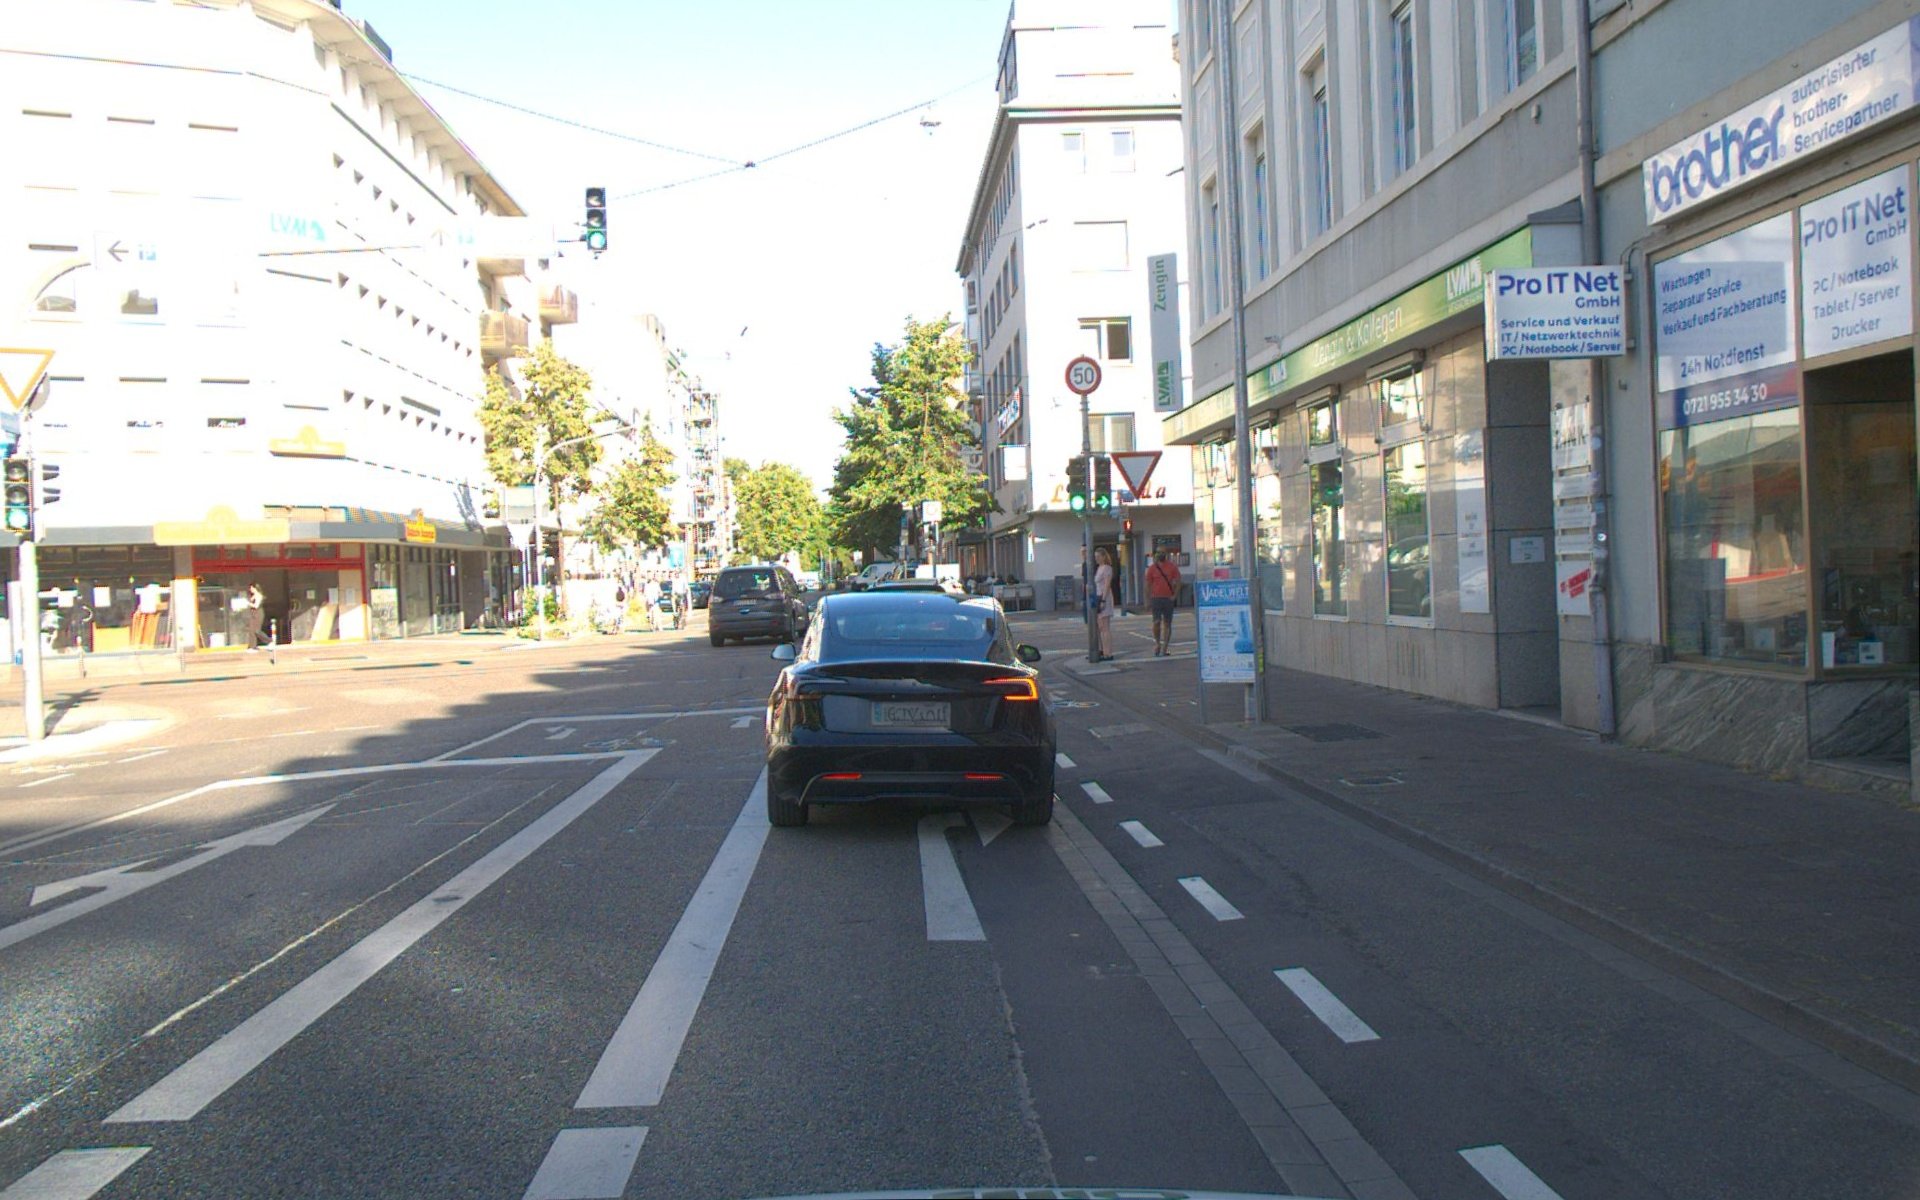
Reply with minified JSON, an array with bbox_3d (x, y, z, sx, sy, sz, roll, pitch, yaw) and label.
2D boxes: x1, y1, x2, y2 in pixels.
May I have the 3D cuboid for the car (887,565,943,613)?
[{"bbox_3d":[-1.744,-0.430,62.789,1.961,1.664,4.286,-3,1,-3],"label":"car"}]

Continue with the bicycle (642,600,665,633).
[{"bbox_3d":[-9.649,0.507,52.083,0.543,0.985,1.788,-3,1,-15],"label":"bicycle"}]

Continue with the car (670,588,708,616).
[{"bbox_3d":[-15.234,0.096,92.993,1.751,1.427,3.902,-3,1,-5],"label":"car"}]

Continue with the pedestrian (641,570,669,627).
[{"bbox_3d":[-9.665,-0.040,52.364,0.766,1.758,0.556,-2,1,-18],"label":"pedestrian"}]

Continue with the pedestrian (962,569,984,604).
[{"bbox_3d":[0.521,-0.554,67.864,0.696,1.370,1.058,-3,1,-7],"label":"pedestrian"}]

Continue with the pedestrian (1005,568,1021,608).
[{"bbox_3d":[1.855,-0.425,58.108,0.477,1.345,0.654,-3,1,4],"label":"pedestrian"}]

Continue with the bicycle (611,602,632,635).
[{"bbox_3d":[-10.520,0.565,51.377,0.472,0.972,1.448,-3,1,-17],"label":"bicycle"}]

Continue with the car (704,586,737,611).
[{"bbox_3d":[-14.892,-0.089,102.869,1.751,1.427,3.902,-3,1,-5],"label":"car"}]

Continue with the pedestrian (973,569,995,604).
[{"bbox_3d":[0.977,-0.555,66.782,0.716,1.370,1.058,-3,1,-6],"label":"pedestrian"}]

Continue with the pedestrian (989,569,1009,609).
[{"bbox_3d":[1.358,-0.384,57.297,0.575,1.335,0.560,-3,1,-3],"label":"pedestrian"}]

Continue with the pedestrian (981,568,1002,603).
[{"bbox_3d":[1.277,-0.601,68.071,0.716,1.384,0.958,-3,1,-4],"label":"pedestrian"}]

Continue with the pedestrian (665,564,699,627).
[{"bbox_3d":[-8.781,-0.159,52.165,0.766,1.898,0.997,-6,2,-18],"label":"pedestrian"}]

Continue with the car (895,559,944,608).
[{"bbox_3d":[-1.715,-0.717,69.224,1.866,1.884,4.286,-3,1,-3],"label":"car"}]

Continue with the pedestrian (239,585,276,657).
[{"bbox_3d":[-17.439,0.513,41.068,0.548,1.739,0.711,-3,1,-6],"label":"pedestrian"}]

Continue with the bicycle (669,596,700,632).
[{"bbox_3d":[-8.716,0.437,52.255,0.746,1.025,1.718,-6,2,-15],"label":"bicycle"}]

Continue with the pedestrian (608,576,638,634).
[{"bbox_3d":[-10.434,0.148,51.174,0.778,1.742,0.651,-2,1,-18],"label":"pedestrian"}]

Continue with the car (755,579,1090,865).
[{"bbox_3d":[-0.294,0.660,11.537,1.832,1.452,4.363,-3,2,-2],"label":"car"}]

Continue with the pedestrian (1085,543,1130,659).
[{"bbox_3d":[2.318,0.005,26.030,0.561,1.789,0.649,-2,1,-4],"label":"pedestrian"}]

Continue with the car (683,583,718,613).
[{"bbox_3d":[-15.351,-0.113,97.982,1.684,1.638,3.595,-3,1,-4],"label":"car"}]

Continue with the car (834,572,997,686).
[{"bbox_3d":[-0.546,0.354,24.213,1.724,1.443,4.358,-2,1,7],"label":"car"}]

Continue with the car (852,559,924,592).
[{"bbox_3d":[-5.426,-1.839,124.361,5.286,2.182,1.998,-3,1,-5],"label":"car"}]

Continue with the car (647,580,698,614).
[{"bbox_3d":[-14.769,-0.196,85.189,1.953,1.626,3.999,-2,1,-2],"label":"car"}]

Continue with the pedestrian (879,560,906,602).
[{"bbox_3d":[-3.214,-0.934,79.182,0.937,1.948,1.106,-3,1,13],"label":"pedestrian"}]

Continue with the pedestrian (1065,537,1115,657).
[{"bbox_3d":[2.088,-0.054,26.559,0.627,1.874,0.681,-3,1,-4],"label":"pedestrian"}]

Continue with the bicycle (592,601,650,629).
[{"bbox_3d":[-13.419,0.582,65.464,2.184,0.975,0.653,-3,1,-16],"label":"bicycle"}]

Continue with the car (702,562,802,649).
[{"bbox_3d":[-4.635,0.075,37.372,1.866,1.763,4.286,-3,1,-3],"label":"car"}]

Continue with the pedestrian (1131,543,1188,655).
[{"bbox_3d":[3.206,-0.022,26.602,0.676,1.732,0.912,-4,1,-2],"label":"pedestrian"}]
